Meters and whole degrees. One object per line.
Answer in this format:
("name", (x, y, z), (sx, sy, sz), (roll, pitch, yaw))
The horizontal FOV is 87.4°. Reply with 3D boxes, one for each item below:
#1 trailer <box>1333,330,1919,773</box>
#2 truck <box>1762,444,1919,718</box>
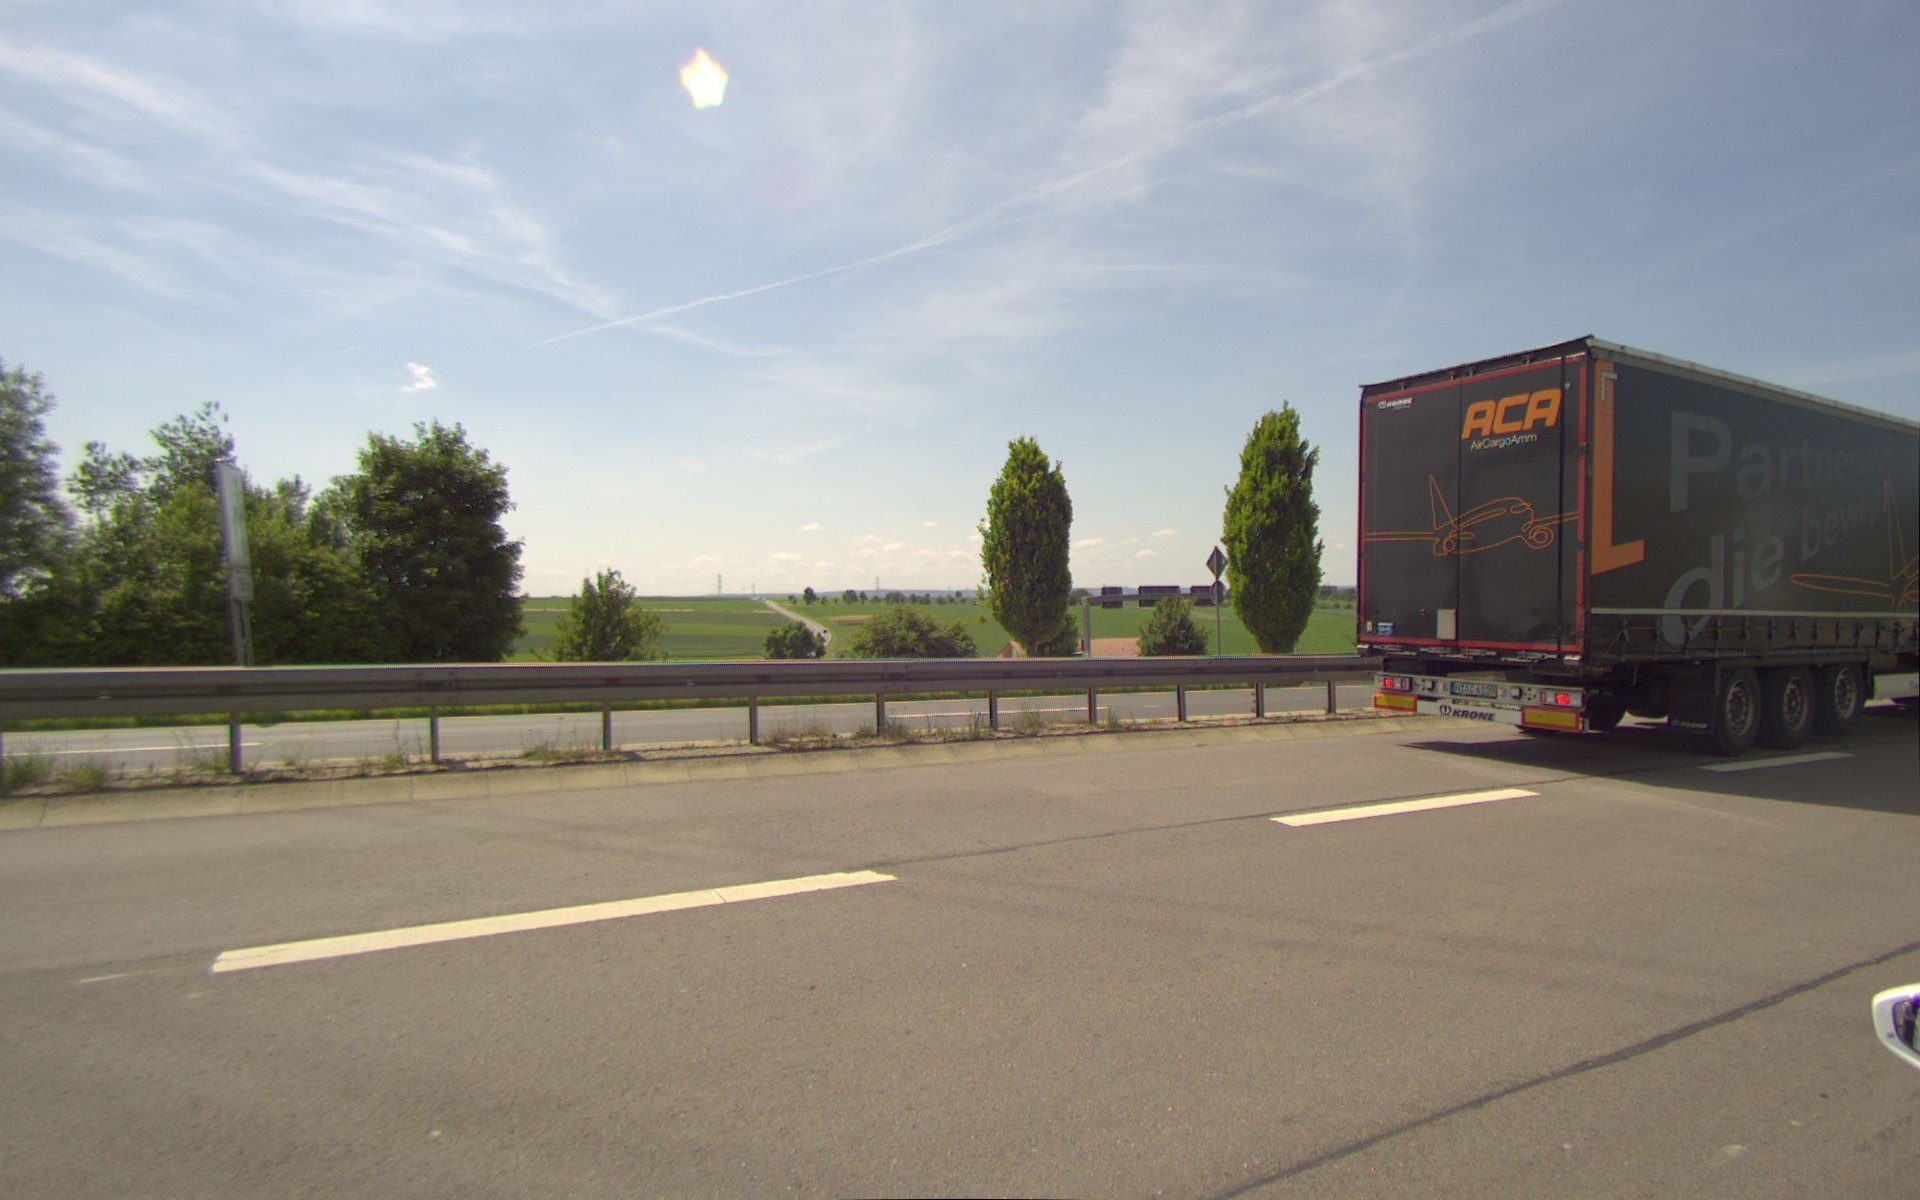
("trailer", (10.868, -0.298, 13.605), (13.621, 3.966, 2.770), (1, 0, -30))
("truck", (16.551, -0.229, 16.876), (5.899, 4.067, 2.770), (1, 0, -30))
